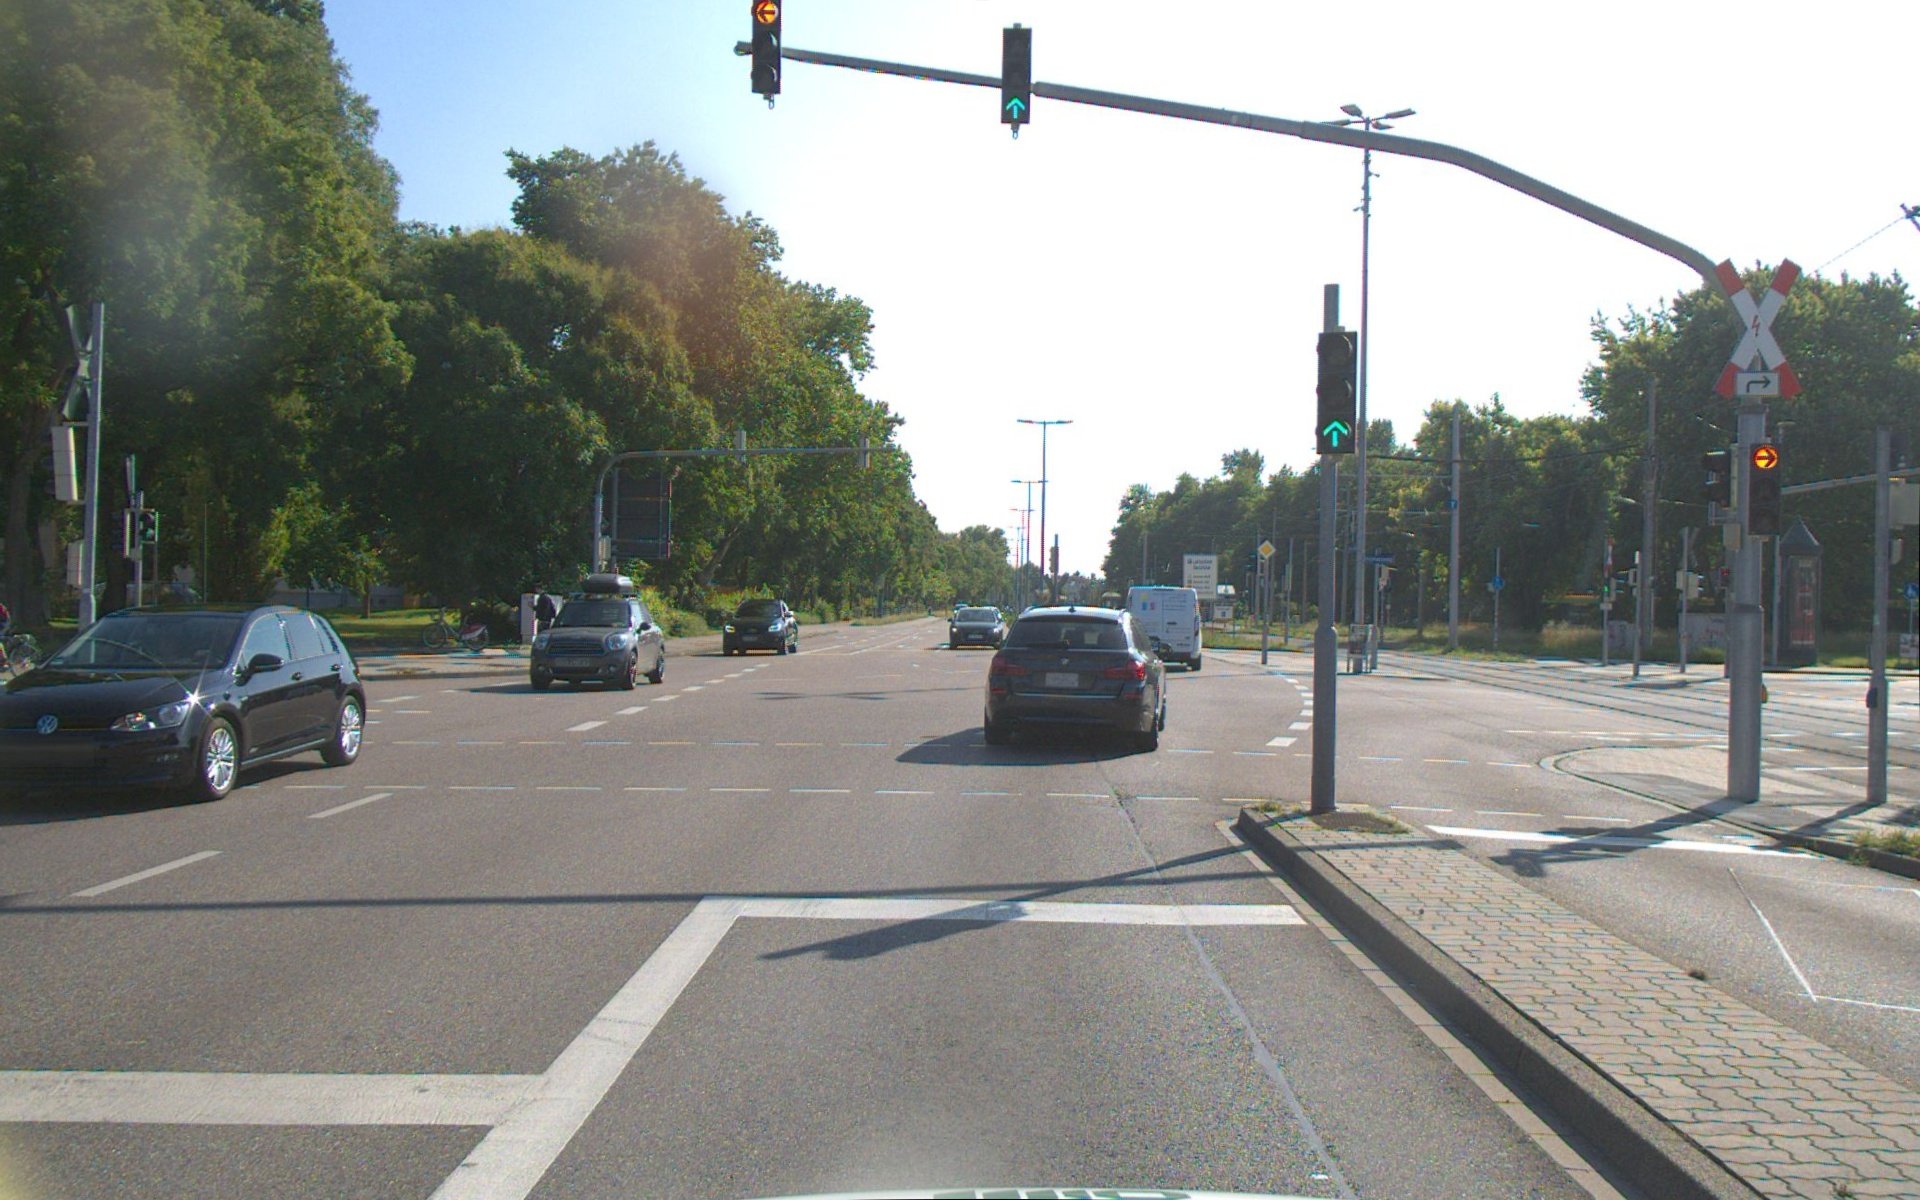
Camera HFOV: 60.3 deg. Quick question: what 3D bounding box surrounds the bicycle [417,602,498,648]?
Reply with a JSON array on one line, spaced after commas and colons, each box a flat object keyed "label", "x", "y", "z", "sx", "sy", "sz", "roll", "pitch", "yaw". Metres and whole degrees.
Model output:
[{"label": "bicycle", "x": -12.953, "y": 0.639, "z": 42.656, "sx": 1.870, "sy": 1.138, "sz": 0.632, "roll": 1, "pitch": 0, "yaw": 0}]

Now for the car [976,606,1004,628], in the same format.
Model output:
[{"label": "car", "x": 2.149, "y": 1.195, "z": 118.089, "sx": 1.810, "sy": 1.503, "sz": 4.647, "roll": 1, "pitch": 0, "yaw": 3}]

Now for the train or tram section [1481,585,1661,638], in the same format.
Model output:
[{"label": "train or tram section", "x": 45.331, "y": 0.828, "z": 122.998, "sx": 12.173, "sy": 3.642, "sz": 3.047, "roll": 1, "pitch": 0, "yaw": 32}]

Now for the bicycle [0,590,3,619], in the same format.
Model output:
[{"label": "bicycle", "x": -32.461, "y": 0.130, "z": 55.279, "sx": 0.662, "sy": 0.936, "sz": 2.378, "roll": 1, "pitch": 0, "yaw": -34}]

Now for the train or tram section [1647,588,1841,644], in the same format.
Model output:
[{"label": "train or tram section", "x": 55.012, "y": 1.062, "z": 116.365, "sx": 11.988, "sy": 3.642, "sz": 3.042, "roll": 1, "pitch": 0, "yaw": 37}]

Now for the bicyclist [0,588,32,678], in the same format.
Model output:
[{"label": "bicyclist", "x": -17.110, "y": 0.580, "z": 29.585, "sx": 0.595, "sy": 1.588, "sz": 0.603, "roll": 1, "pitch": -1, "yaw": 21}]

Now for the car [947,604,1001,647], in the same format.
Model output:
[{"label": "car", "x": 0.543, "y": 0.862, "z": 57.893, "sx": 1.791, "sy": 1.456, "sz": 4.732, "roll": 0, "pitch": 0, "yaw": 2}]

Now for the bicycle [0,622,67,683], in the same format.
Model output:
[{"label": "bicycle", "x": -17.116, "y": 0.931, "z": 29.590, "sx": 0.607, "sy": 1.058, "sz": 2.071, "roll": 1, "pitch": 0, "yaw": 22}]

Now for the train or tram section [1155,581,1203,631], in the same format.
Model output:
[{"label": "train or tram section", "x": 17.257, "y": 0.522, "z": 130.994, "sx": 2.737, "sy": 3.681, "sz": 12.961, "roll": 2, "pitch": -1, "yaw": 4}]

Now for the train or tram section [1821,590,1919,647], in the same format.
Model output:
[{"label": "train or tram section", "x": 62.544, "y": 1.225, "z": 107.179, "sx": 3.016, "sy": 3.642, "sz": 12.091, "roll": 1, "pitch": 0, "yaw": -33}]

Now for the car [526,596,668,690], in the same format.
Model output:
[{"label": "car", "x": -6.373, "y": 0.710, "z": 29.453, "sx": 1.752, "sy": 1.547, "sz": 3.998, "roll": 1, "pitch": 0, "yaw": -2}]

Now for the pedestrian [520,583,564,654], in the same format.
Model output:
[{"label": "pedestrian", "x": -10.731, "y": 0.476, "z": 42.466, "sx": 0.798, "sy": 1.782, "sz": 0.932, "roll": 1, "pitch": 0, "yaw": 5}]

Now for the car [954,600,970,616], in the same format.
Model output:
[{"label": "car", "x": 0.257, "y": 0.921, "z": 193.256, "sx": 1.752, "sy": 1.803, "sz": 4.570, "roll": 1, "pitch": 0, "yaw": 1}]

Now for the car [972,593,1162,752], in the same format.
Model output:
[{"label": "car", "x": 1.258, "y": 0.727, "z": 18.520, "sx": 1.863, "sy": 1.532, "sz": 4.067, "roll": 1, "pitch": 0, "yaw": 5}]

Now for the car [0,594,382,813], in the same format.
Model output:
[{"label": "car", "x": -6.335, "y": 0.713, "z": 13.450, "sx": 1.850, "sy": 1.500, "sz": 4.099, "roll": 1, "pitch": 0, "yaw": -1}]

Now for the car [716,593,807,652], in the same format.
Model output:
[{"label": "car", "x": -5.978, "y": 0.652, "z": 50.307, "sx": 1.947, "sy": 1.688, "sz": 4.387, "roll": 1, "pitch": 0, "yaw": 4}]

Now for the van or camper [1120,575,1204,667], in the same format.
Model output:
[{"label": "van or camper", "x": 5.044, "y": 0.504, "z": 41.539, "sx": 1.951, "sy": 2.133, "sz": 4.601, "roll": 1, "pitch": 0, "yaw": 6}]
